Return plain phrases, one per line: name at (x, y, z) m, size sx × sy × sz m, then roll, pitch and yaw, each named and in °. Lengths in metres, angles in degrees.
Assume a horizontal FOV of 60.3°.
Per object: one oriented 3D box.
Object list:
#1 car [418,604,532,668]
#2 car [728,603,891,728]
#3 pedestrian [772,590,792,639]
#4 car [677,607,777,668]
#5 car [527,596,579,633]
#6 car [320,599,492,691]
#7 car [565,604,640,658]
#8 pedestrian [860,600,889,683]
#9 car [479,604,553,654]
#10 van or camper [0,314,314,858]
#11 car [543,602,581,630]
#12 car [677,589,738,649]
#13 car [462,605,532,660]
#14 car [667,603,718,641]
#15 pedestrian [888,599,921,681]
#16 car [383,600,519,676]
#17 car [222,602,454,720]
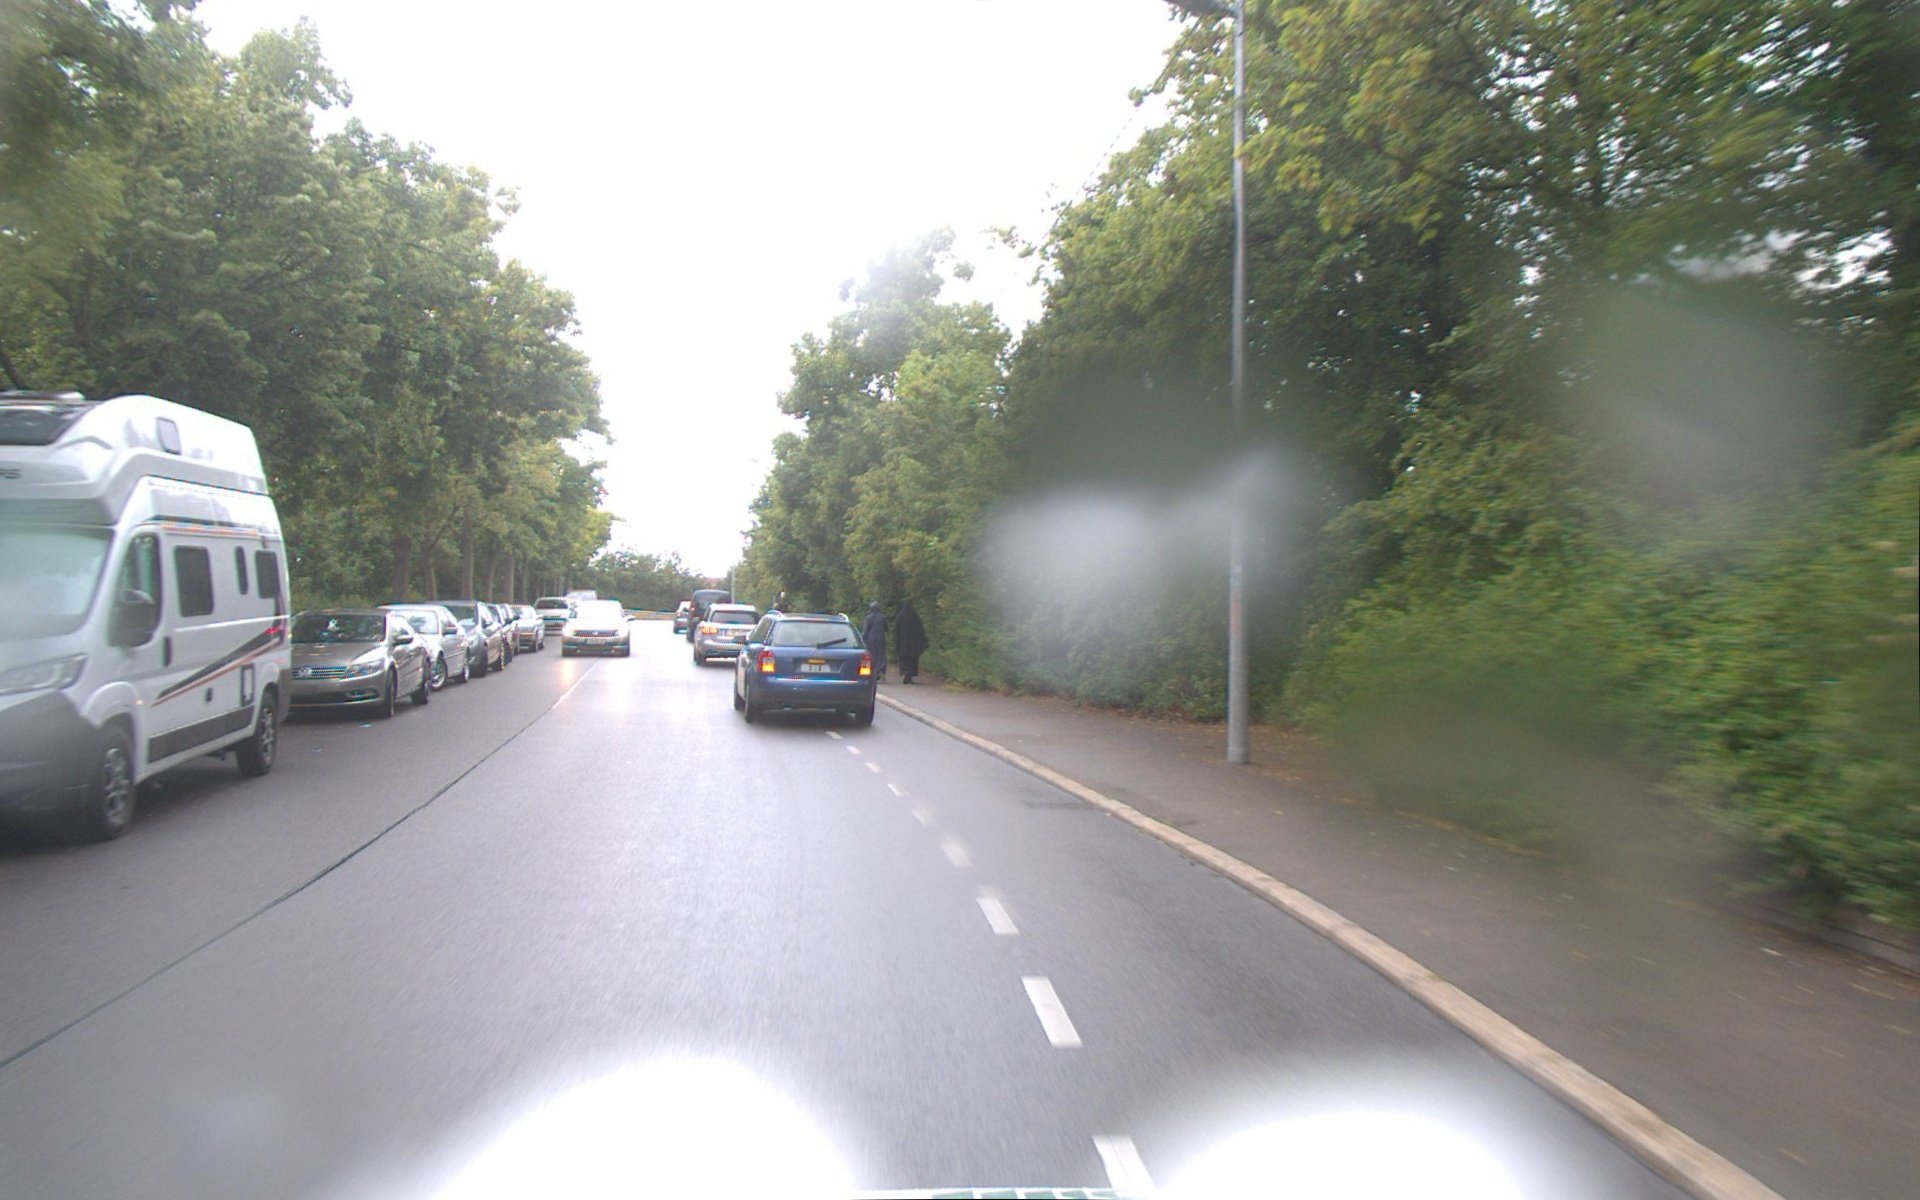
car at (-11.556, 0.834, 39.693) m, size 1.956 × 1.430 × 4.705 m, roll -1°, pitch -1°, yaw -8°
car at (-2.172, 0.844, 22.961) m, size 1.717 × 1.432 × 3.988 m, roll 3°, pitch 1°, yaw -12°
pedestrian at (-6.843, 0.561, 63.621) m, size 0.703 × 1.867 × 1.019 m, roll -1°, pitch 0°, yaw -9°
car at (-5.825, 0.908, 41.045) m, size 1.861 × 1.413 × 3.981 m, roll 1°, pitch -1°, yaw -17°
car at (-16.586, 0.599, 67.526) m, size 1.657 × 1.463 × 4.247 m, roll 0°, pitch -1°, yaw -8°
car at (-9.740, 0.731, 29.469) m, size 1.955 × 1.429 × 4.707 m, roll -1°, pitch 1°, yaw -7°
car at (-9.822, 0.836, 45.688) m, size 1.849 × 1.427 × 4.245 m, roll 0°, pitch -1°, yaw -10°
pedestrian at (-1.683, 0.806, 32.425) m, size 0.541 × 1.594 × 0.486 m, roll 0°, pitch 0°, yaw -6°
car at (-13.034, 0.842, 48.766) m, size 1.723 × 1.427 × 4.408 m, roll 0°, pitch -1°, yaw -10°
van or camper at (-6.942, 0.010, 12.448) m, size 2.460 × 3.079 × 6.545 m, roll -3°, pitch 0°, yaw -10°
car at (-20.962, 0.854, 87.137) m, size 1.765 × 1.463 × 4.244 m, roll 0°, pitch -1°, yaw -11°
car at (-9.215, 0.708, 60.191) m, size 1.759 × 1.987 × 3.984 m, roll -3°, pitch -2°, yaw -14°
car at (-12.350, 0.851, 44.251) m, size 1.567 × 1.386 × 3.988 m, roll 0°, pitch -1°, yaw -13°
car at (-12.145, 0.990, 74.972) m, size 1.793 × 1.645 × 3.767 m, roll 0°, pitch -1°, yaw -17°
pedestrian at (-1.095, 0.780, 32.555) m, size 0.584 × 1.594 × 0.668 m, roll 1°, pitch -1°, yaw -6°
car at (-10.442, 0.760, 34.291) m, size 1.956 × 1.430 × 4.705 m, roll -1°, pitch -1°, yaw -8°
car at (-8.537, 0.758, 23.220) m, size 1.957 × 1.332 × 5.344 m, roll -1°, pitch 1°, yaw -9°
